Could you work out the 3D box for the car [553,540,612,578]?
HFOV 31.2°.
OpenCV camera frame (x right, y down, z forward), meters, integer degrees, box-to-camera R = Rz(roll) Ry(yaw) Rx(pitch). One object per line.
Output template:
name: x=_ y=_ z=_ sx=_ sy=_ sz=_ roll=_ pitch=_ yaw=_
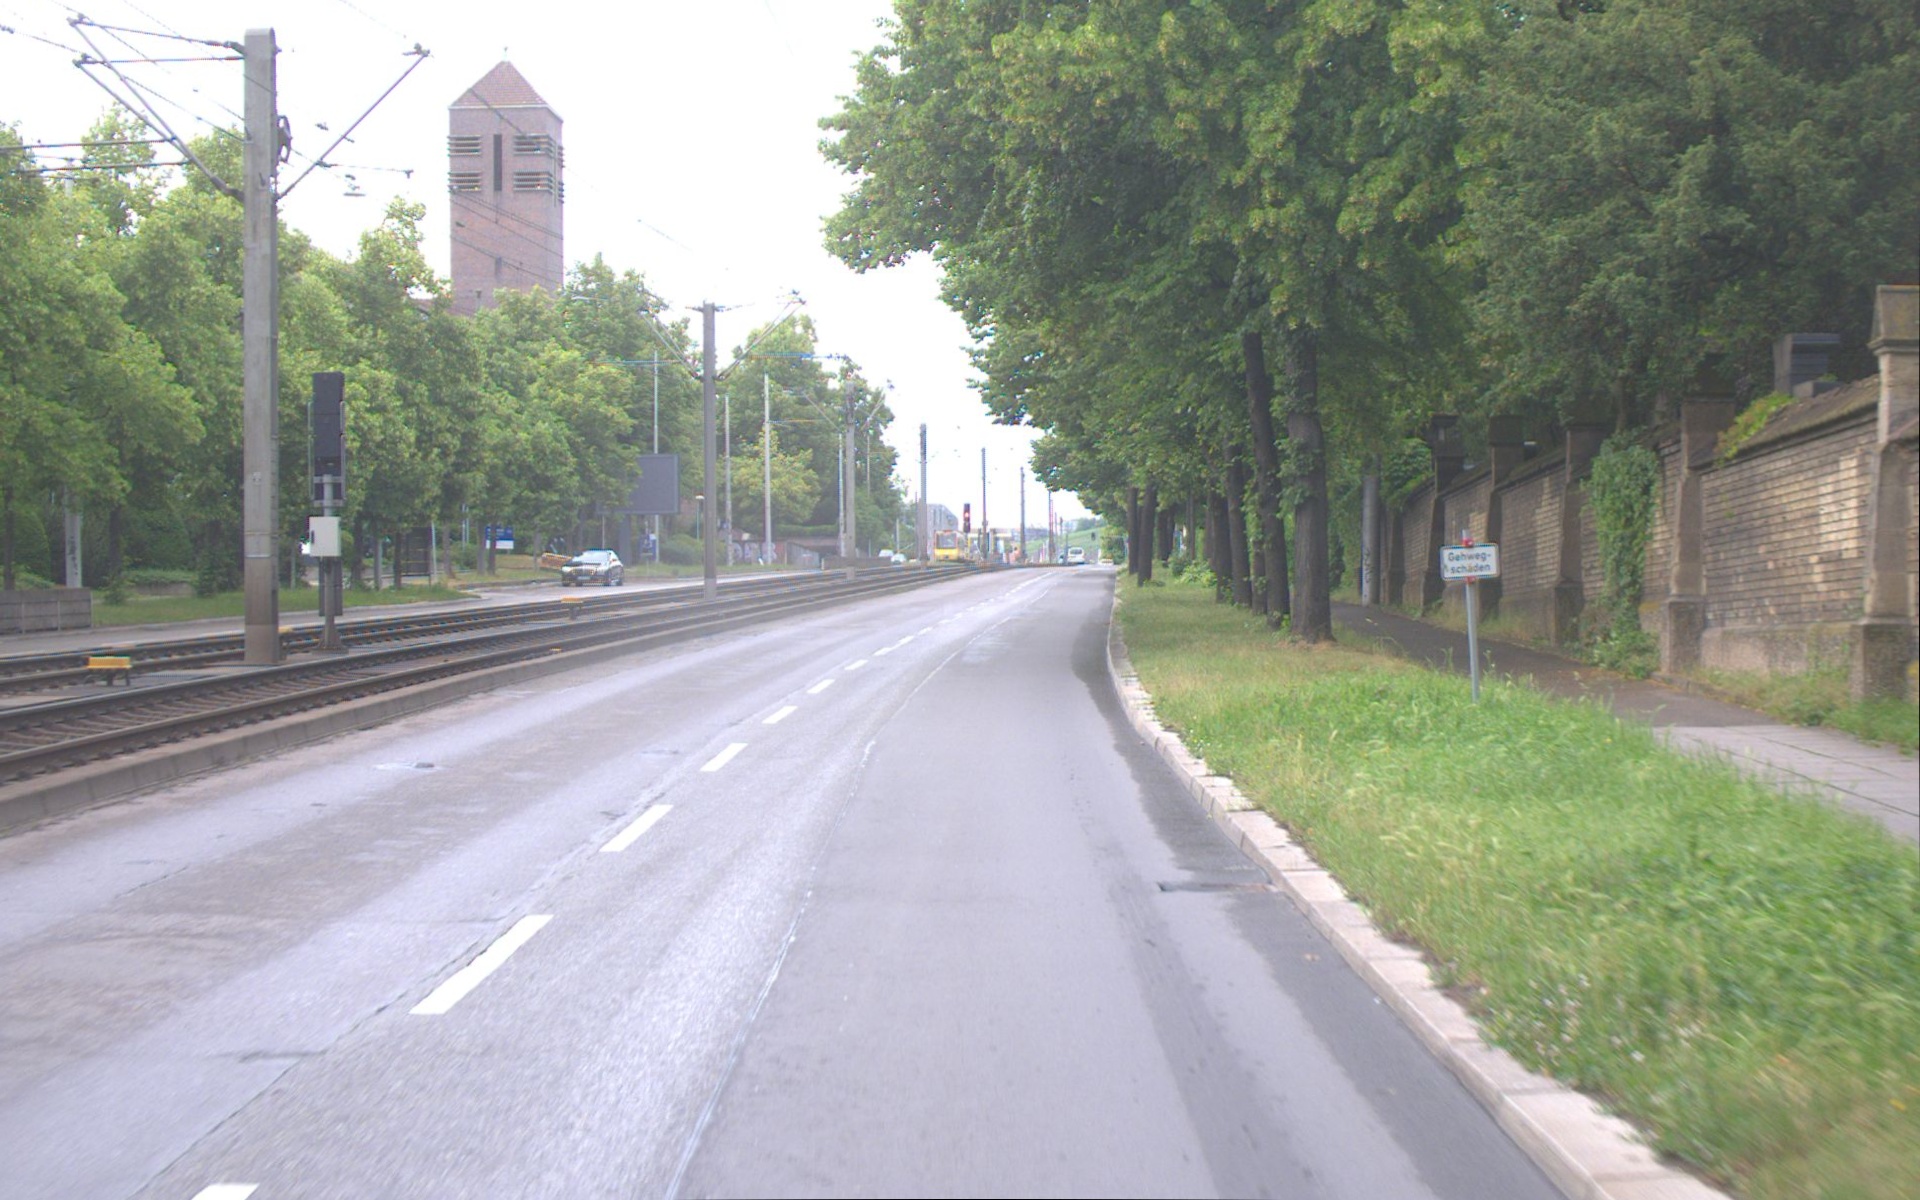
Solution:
car: x=-15.251 y=-1.669 z=139.057 sx=1.794 sy=1.525 sz=4.622 roll=0 pitch=1 yaw=1
